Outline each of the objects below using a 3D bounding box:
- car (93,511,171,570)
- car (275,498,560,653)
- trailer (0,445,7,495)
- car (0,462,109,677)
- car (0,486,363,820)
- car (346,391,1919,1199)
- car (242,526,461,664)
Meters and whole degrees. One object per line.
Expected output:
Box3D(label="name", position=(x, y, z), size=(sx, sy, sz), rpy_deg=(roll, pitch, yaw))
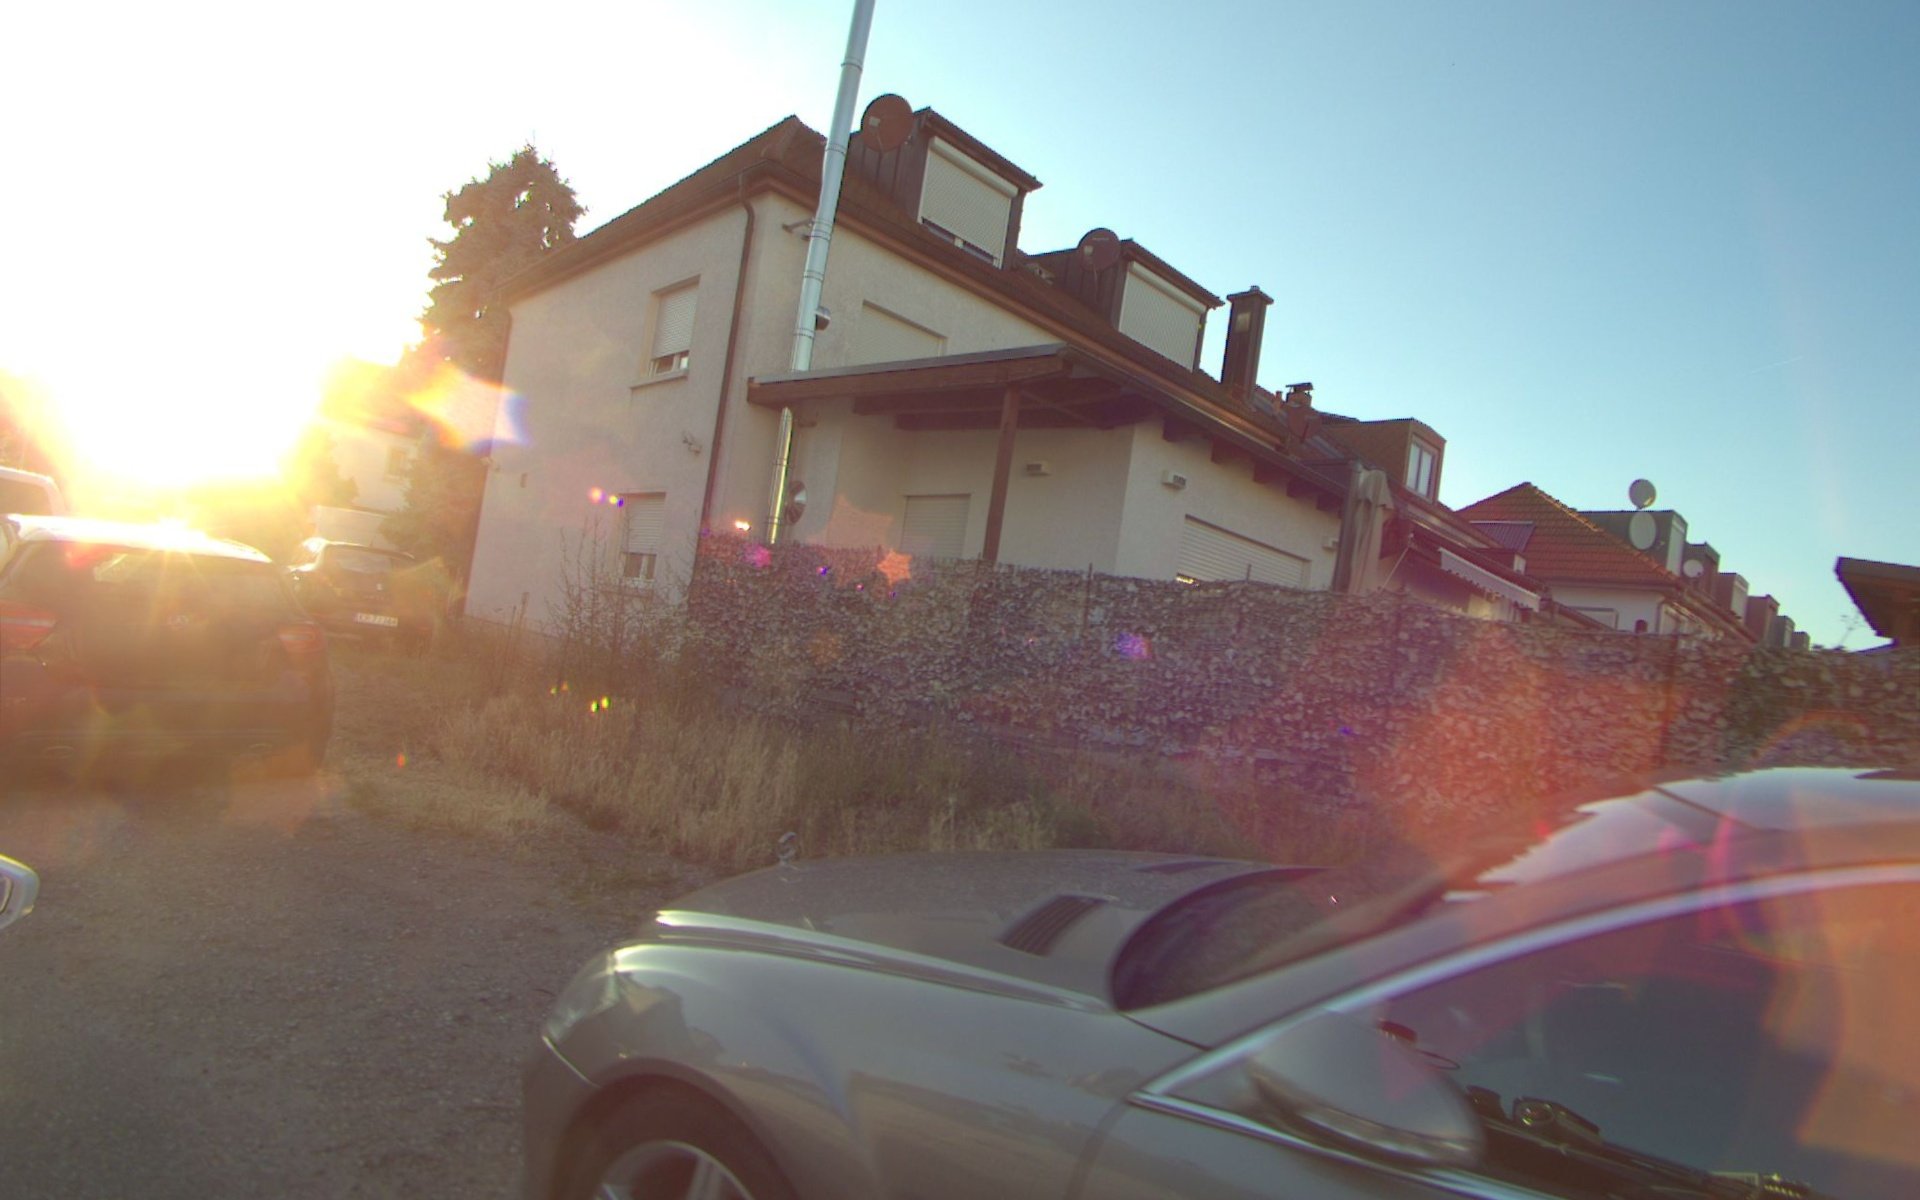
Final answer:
Box3D(label="car", position=(-25.400, -1.845, 30.815), size=(1.525, 1.460, 3.596), rpy_deg=(10, -2, -43))
Box3D(label="car", position=(-13.128, -0.510, 24.626), size=(5.550, 2.722, 2.029), rpy_deg=(12, -2, -42))
Box3D(label="trailer", position=(-15.301, -1.278, 13.864), size=(5.141, 2.237, 2.066), rpy_deg=(7, -2, 36))
Box3D(label="car", position=(-10.321, -0.469, 10.045), size=(4.342, 1.851, 1.772), rpy_deg=(6, -3, 38))
Box3D(label="car", position=(-5.596, 0.151, 6.371), size=(4.028, 1.536, 1.705), rpy_deg=(7, -2, 39))
Box3D(label="car", position=(1.339, 0.787, 1.541), size=(4.847, 1.745, 1.809), rpy_deg=(7, -1, 32))
Box3D(label="car", position=(-8.646, -0.097, 14.157), size=(1.633, 1.535, 3.855), rpy_deg=(10, -5, -44))
